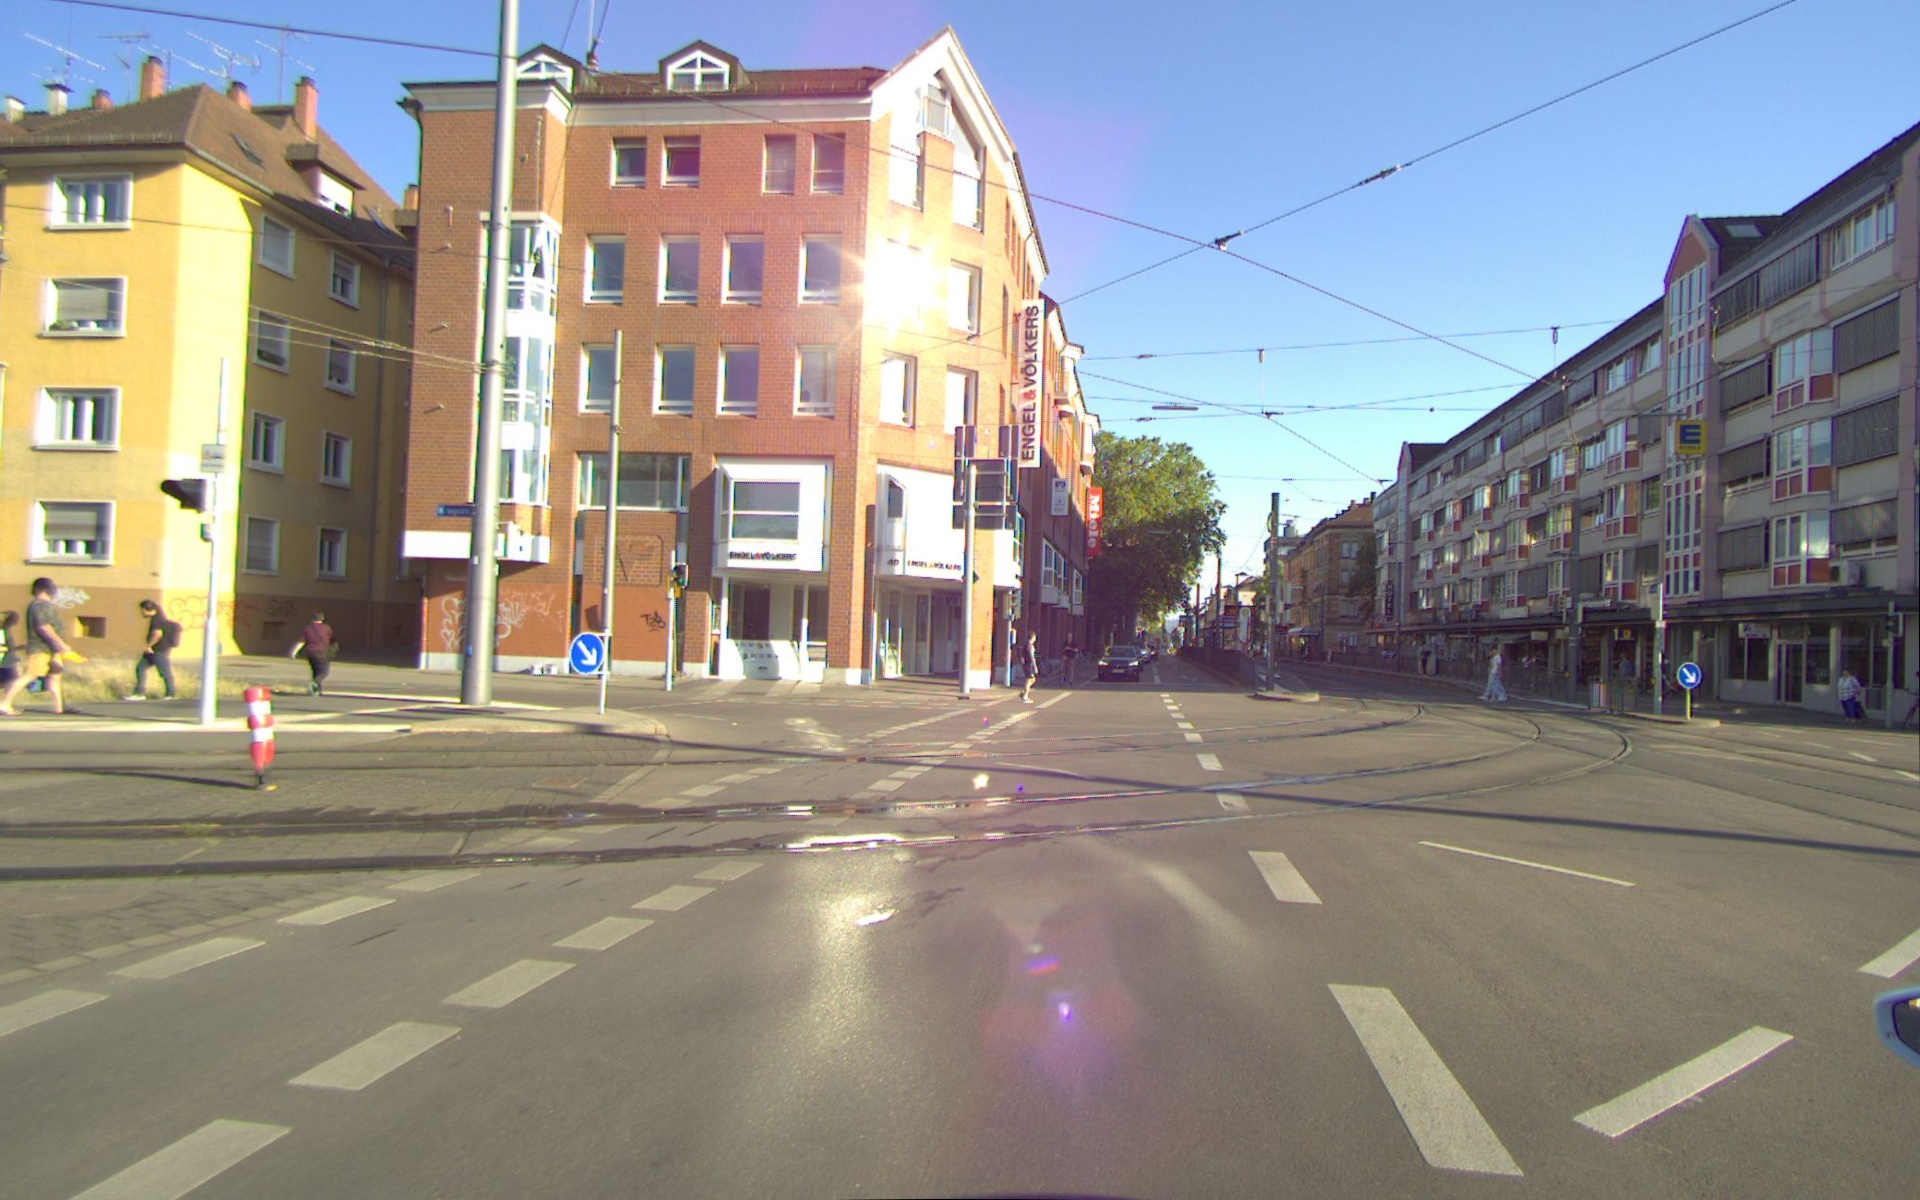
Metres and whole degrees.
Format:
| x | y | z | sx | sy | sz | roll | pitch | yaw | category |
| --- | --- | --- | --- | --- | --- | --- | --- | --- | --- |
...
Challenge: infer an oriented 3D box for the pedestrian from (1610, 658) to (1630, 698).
| x | y | z | sx | sy | sz | roll | pitch | yaw | category |
| --- | --- | --- | --- | --- | --- | --- | --- | --- | --- |
| 31.880 | 3.759 | 48.524 | 0.598 | 1.877 | 0.604 | 2 | 0 | 16 | pedestrian |

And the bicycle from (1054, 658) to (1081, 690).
| x | y | z | sx | sy | sz | roll | pitch | yaw | category |
| --- | --- | --- | --- | --- | --- | --- | --- | --- | --- |
| 4.047 | 2.776 | 37.724 | 0.622 | 1.062 | 1.838 | 2 | 0 | 16 | bicycle |

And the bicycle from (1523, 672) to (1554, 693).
| x | y | z | sx | sy | sz | roll | pitch | yaw | category |
| --- | --- | --- | --- | --- | --- | --- | --- | --- | --- |
| 27.807 | 3.948 | 48.309 | 0.616 | 0.942 | 1.912 | -1 | -2 | 9 | bicycle |

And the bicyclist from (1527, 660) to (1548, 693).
| x | y | z | sx | sy | sz | roll | pitch | yaw | category |
| --- | --- | --- | --- | --- | --- | --- | --- | --- | --- |
| 27.809 | 3.690 | 48.354 | 0.616 | 1.552 | 0.802 | -1 | -2 | 10 | bicyclist |

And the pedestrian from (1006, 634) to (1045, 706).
| x | y | z | sx | sy | sz | roll | pitch | yaw | category |
| --- | --- | --- | --- | --- | --- | --- | --- | --- | --- |
| 1.669 | 1.797 | 25.862 | 0.814 | 1.781 | 0.695 | 2 | 0 | -8 | pedestrian |

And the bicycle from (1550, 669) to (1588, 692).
| x | y | z | sx | sy | sz | roll | pitch | yaw | category |
| --- | --- | --- | --- | --- | --- | --- | --- | --- | --- |
| 32.658 | 4.314 | 53.846 | 1.616 | 1.134 | 0.566 | 2 | 0 | 6 | bicycle |

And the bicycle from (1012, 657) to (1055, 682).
| x | y | z | sx | sy | sz | roll | pitch | yaw | category |
| --- | --- | --- | --- | --- | --- | --- | --- | --- | --- |
| 3.211 | 3.022 | 44.037 | 1.800 | 0.973 | 0.544 | 2 | 0 | 9 | bicycle |

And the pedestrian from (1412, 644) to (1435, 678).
| x | y | z | sx | sy | sz | roll | pitch | yaw | category |
| --- | --- | --- | --- | --- | --- | --- | --- | --- | --- |
| 23.279 | 3.060 | 50.466 | 0.766 | 1.682 | 0.684 | 2 | 0 | 0 | pedestrian |

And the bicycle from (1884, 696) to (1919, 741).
| x | y | z | sx | sy | sz | roll | pitch | yaw | category |
| --- | --- | --- | --- | --- | --- | --- | --- | --- | --- |
| 26.274 | 3.216 | 27.236 | 1.733 | 1.160 | 0.641 | 0 | -1 | 9 | bicycle |

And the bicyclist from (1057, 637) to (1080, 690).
| x | y | z | sx | sy | sz | roll | pitch | yaw | category |
| --- | --- | --- | --- | --- | --- | --- | --- | --- | --- |
| 4.085 | 2.379 | 37.776 | 0.622 | 1.904 | 0.811 | 2 | 0 | 16 | bicyclist |

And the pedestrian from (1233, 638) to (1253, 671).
| x | y | z | sx | sy | sz | roll | pitch | yaw | category |
| --- | --- | --- | --- | --- | --- | --- | --- | --- | --- |
| 14.219 | 2.757 | 50.469 | 0.679 | 1.598 | 0.620 | 2 | 0 | -14 | pedestrian |

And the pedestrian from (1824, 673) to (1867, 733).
| x | y | z | sx | sy | sz | roll | pitch | yaw | category |
| --- | --- | --- | --- | --- | --- | --- | --- | --- | --- |
| 25.731 | 2.992 | 29.191 | 0.623 | 1.684 | 0.714 | 3 | -2 | -18 | pedestrian |

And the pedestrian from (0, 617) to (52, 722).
| x | y | z | sx | sy | sz | roll | pitch | yaw | category |
| --- | --- | --- | --- | --- | --- | --- | --- | --- | --- |
| -12.768 | 0.937 | 13.591 | 0.587 | 1.378 | 0.606 | -4 | -3 | 37 | pedestrian |

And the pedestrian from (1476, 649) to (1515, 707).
| x | y | z | sx | sy | sz | roll | pitch | yaw | category |
| --- | --- | --- | --- | --- | --- | --- | --- | --- | --- |
| 17.219 | 2.511 | 32.302 | 0.988 | 1.787 | 0.509 | 2 | 0 | -14 | pedestrian |

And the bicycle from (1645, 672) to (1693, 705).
| x | y | z | sx | sy | sz | roll | pitch | yaw | category |
| --- | --- | --- | --- | --- | --- | --- | --- | --- | --- |
| 29.501 | 3.669 | 41.829 | 0.715 | 1.243 | 2.334 | 2 | -2 | 12 | bicycle |

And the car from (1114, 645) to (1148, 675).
| x | y | z | sx | sy | sz | roll | pitch | yaw | category |
| --- | --- | --- | --- | --- | --- | --- | --- | --- | --- |
| 9.763 | 3.408 | 57.279 | 1.715 | 1.443 | 3.940 | 2 | 0 | 12 | car |

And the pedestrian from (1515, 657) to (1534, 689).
| x | y | z | sx | sy | sz | roll | pitch | yaw | category |
| --- | --- | --- | --- | --- | --- | --- | --- | --- | --- |
| 31.096 | 4.022 | 55.359 | 0.738 | 1.666 | 0.550 | 2 | 0 | 16 | pedestrian |

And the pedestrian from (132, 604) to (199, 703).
| x | y | z | sx | sy | sz | roll | pitch | yaw | category |
| --- | --- | --- | --- | --- | --- | --- | --- | --- | --- |
| -13.559 | 0.901 | 17.144 | 0.828 | 1.605 | 0.681 | 2 | 0 | 38 | pedestrian |

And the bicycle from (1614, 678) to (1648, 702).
| x | y | z | sx | sy | sz | roll | pitch | yaw | category |
| --- | --- | --- | --- | --- | --- | --- | --- | --- | --- |
| 29.921 | 4.016 | 44.830 | 0.491 | 0.929 | 2.080 | 2 | -2 | 12 | bicycle |

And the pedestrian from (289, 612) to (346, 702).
| x | y | z | sx | sy | sz | roll | pitch | yaw | category |
| --- | --- | --- | --- | --- | --- | --- | --- | --- | --- |
| -11.860 | 1.042 | 18.544 | 0.782 | 1.609 | 0.601 | 2 | 0 | -38 | pedestrian |

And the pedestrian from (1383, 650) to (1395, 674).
| x | y | z | sx | sy | sz | roll | pitch | yaw | category |
| --- | --- | --- | --- | --- | --- | --- | --- | --- | --- |
| 36.545 | 5.278 | 85.571 | 0.825 | 2.040 | 0.778 | 2 | 0 | 15 | pedestrian |

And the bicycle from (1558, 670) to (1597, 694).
| x | y | z | sx | sy | sz | roll | pitch | yaw | category |
| --- | --- | --- | --- | --- | --- | --- | --- | --- | --- |
| 32.248 | 4.284 | 52.475 | 1.616 | 1.134 | 0.484 | 2 | 0 | 6 | bicycle |

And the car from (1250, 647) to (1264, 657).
| x | y | z | sx | sy | sz | roll | pitch | yaw | category |
| --- | --- | --- | --- | --- | --- | --- | --- | --- | --- |
| 52.372 | 9.218 | 177.096 | 1.959 | 1.572 | 4.003 | 2 | 0 | 12 | car |

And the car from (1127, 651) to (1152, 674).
| x | y | z | sx | sy | sz | roll | pitch | yaw | category |
| --- | --- | --- | --- | --- | --- | --- | --- | --- | --- |
| 13.464 | 4.651 | 75.276 | 1.715 | 1.443 | 3.940 | 2 | 0 | 12 | car |

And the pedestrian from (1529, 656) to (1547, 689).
| x | y | z | sx | sy | sz | roll | pitch | yaw | category |
| --- | --- | --- | --- | --- | --- | --- | --- | --- | --- |
| 32.864 | 4.098 | 57.112 | 0.807 | 1.802 | 0.678 | 2 | 0 | 36 | pedestrian |

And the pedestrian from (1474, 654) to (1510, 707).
| x | y | z | sx | sy | sz | roll | pitch | yaw | category |
| --- | --- | --- | --- | --- | --- | --- | --- | --- | --- |
| 17.663 | 2.665 | 33.323 | 0.856 | 1.717 | 0.620 | 2 | 0 | -26 | pedestrian |

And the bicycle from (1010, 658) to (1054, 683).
| x | y | z | sx | sy | sz | roll | pitch | yaw | category |
| --- | --- | --- | --- | --- | --- | --- | --- | --- | --- |
| 3.099 | 3.013 | 43.215 | 1.800 | 0.974 | 0.544 | 2 | 0 | 9 | bicycle |

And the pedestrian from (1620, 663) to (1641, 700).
| x | y | z | sx | sy | sz | roll | pitch | yaw | category |
| --- | --- | --- | --- | --- | --- | --- | --- | --- | --- |
| 30.806 | 3.729 | 46.173 | 0.598 | 1.657 | 0.604 | 2 | 0 | -38 | pedestrian |

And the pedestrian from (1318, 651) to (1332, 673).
| x | y | z | sx | sy | sz | roll | pitch | yaw | category |
| --- | --- | --- | --- | --- | --- | --- | --- | --- | --- |
| 28.227 | 4.787 | 77.755 | 0.766 | 1.682 | 0.684 | 2 | 0 | 0 | pedestrian |

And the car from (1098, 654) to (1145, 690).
| x | y | z | sx | sy | sz | roll | pitch | yaw | category |
| --- | --- | --- | --- | --- | --- | --- | --- | --- | --- |
| 7.015 | 3.078 | 43.435 | 1.715 | 1.260 | 3.940 | 2 | 0 | 13 | car |

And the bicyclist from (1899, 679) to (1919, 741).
| x | y | z | sx | sy | sz | roll | pitch | yaw | category |
| --- | --- | --- | --- | --- | --- | --- | --- | --- | --- |
| 26.115 | 2.986 | 27.261 | 0.645 | 1.618 | 0.641 | 0 | -1 | 9 | bicyclist |

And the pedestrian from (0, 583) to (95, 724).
| x | y | z | sx | sy | sz | roll | pitch | yaw | category |
| --- | --- | --- | --- | --- | --- | --- | --- | --- | --- |
| -12.129 | 0.690 | 13.302 | 0.765 | 1.781 | 0.895 | 2 | 0 | 43 | pedestrian |

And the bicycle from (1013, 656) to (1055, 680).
| x | y | z | sx | sy | sz | roll | pitch | yaw | category |
| --- | --- | --- | --- | --- | --- | --- | --- | --- | --- |
| 3.325 | 3.036 | 45.011 | 1.800 | 0.973 | 0.544 | 2 | 0 | 9 | bicycle |
